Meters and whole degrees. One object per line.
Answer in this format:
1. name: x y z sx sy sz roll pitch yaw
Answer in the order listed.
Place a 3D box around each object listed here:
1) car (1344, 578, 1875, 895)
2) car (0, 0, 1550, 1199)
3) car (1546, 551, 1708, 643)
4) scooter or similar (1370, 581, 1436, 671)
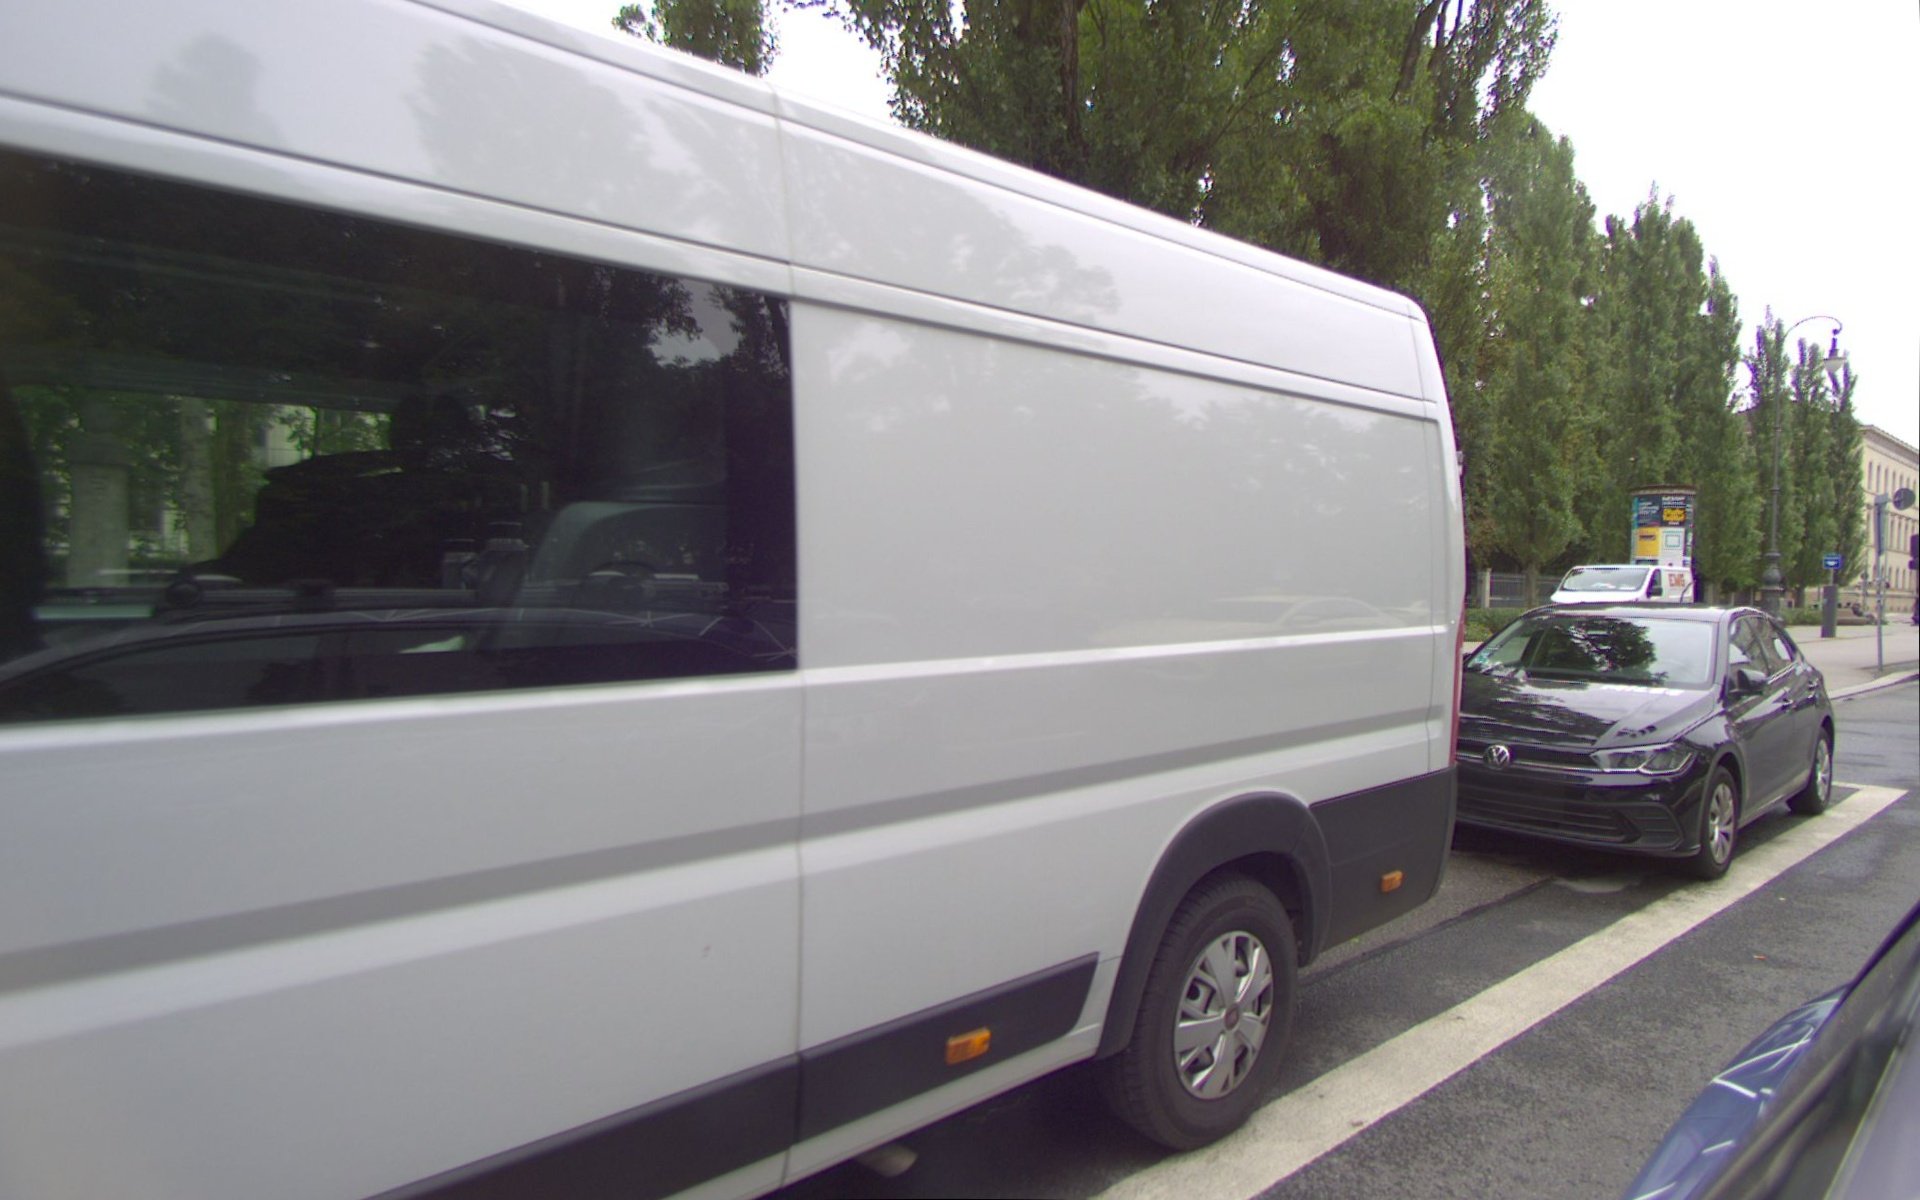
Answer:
1. car: 4.382 0.640 6.613 3.927 1.468 1.758 0 -1 -39
2. car: -0.946 0.047 2.516 6.169 2.510 2.079 0 0 -39
3. car: 15.781 -0.071 23.846 4.798 1.969 1.884 0 0 -40
4. scooter or similar: 6.561 0.376 14.973 1.164 1.281 0.337 0 1 -38
